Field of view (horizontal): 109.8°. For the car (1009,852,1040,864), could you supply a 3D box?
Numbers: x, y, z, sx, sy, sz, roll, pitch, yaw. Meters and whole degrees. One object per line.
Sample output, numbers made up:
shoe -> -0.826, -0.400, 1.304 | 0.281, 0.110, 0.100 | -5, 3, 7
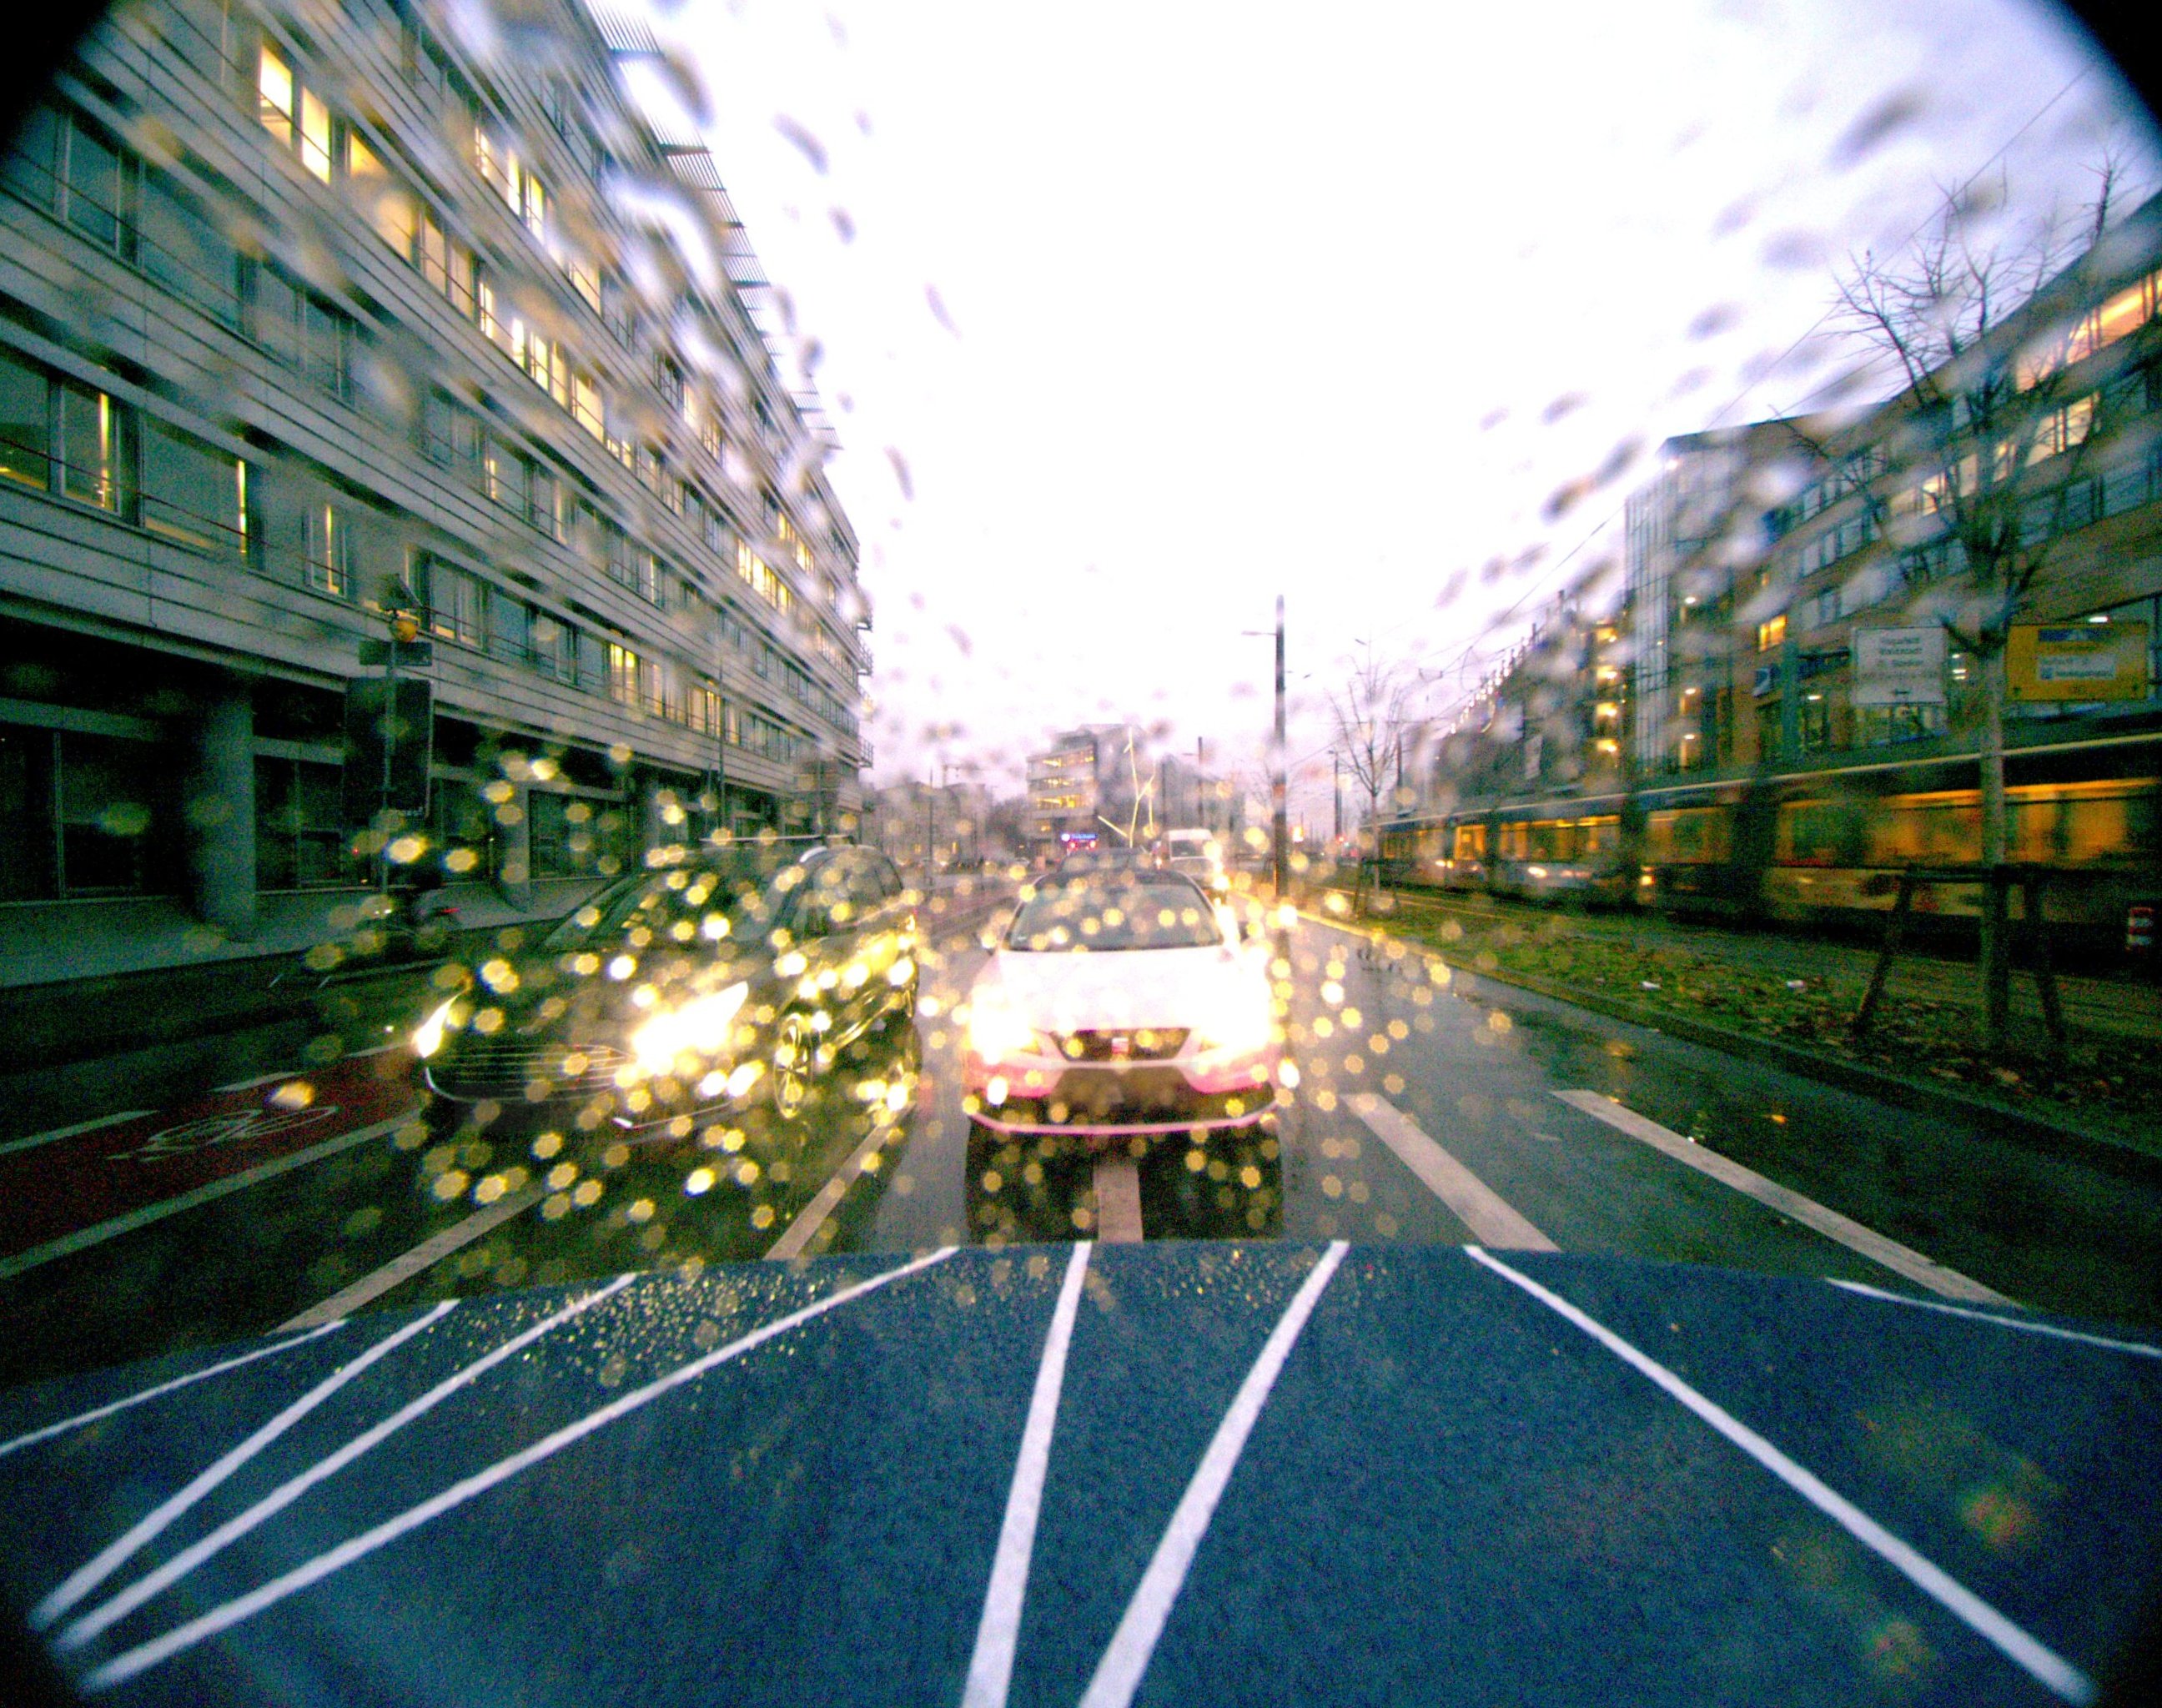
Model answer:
car -> -8.133, 0.532, 109.501 | 3.918, 1.699, 1.782 | -1, 1, 15

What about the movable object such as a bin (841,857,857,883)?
movable object such as a bin -> -13.250, 0.912, 43.394 | 0.666, 1.420, 0.840 | -1, 1, -2

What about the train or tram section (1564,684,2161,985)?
train or tram section -> 14.368, -0.250, 10.798 | 2.872, 3.593, 19.211 | 0, 0, 0

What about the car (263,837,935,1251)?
car -> -2.605, 0.849, 5.721 | 1.887, 1.800, 4.671 | -2, 0, 2

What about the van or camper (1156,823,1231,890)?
van or camper -> 4.527, 0.079, 31.512 | 2.153, 2.517, 5.898 | -1, 0, 0

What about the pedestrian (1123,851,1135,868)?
pedestrian -> 5.587, 0.621, 88.395 | 1.118, 2.002, 1.034 | 0, 1, 15

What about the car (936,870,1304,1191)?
car -> 0.218, 0.912, 5.701 | 1.782, 1.464, 3.943 | -1, 0, 1

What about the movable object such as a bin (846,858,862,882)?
movable object such as a bin -> -13.246, 0.926, 44.291 | 0.666, 1.420, 0.840 | -1, 1, -2

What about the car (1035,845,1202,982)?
car -> 0.525, 0.770, 12.474 | 2.169, 1.744, 4.541 | -3, 1, 0

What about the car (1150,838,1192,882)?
car -> 6.153, 0.384, 52.807 | 2.129, 2.847, 5.813 | -1, 0, -1

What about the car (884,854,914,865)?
car -> -27.839, 0.840, 116.081 | 3.996, 1.663, 2.002 | -1, 1, 17

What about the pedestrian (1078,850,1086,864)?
pedestrian -> 0.162, 0.353, 95.200 | 0.893, 1.783, 0.667 | 0, 1, -8

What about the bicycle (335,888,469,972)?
bicycle -> -11.009, 1.197, 12.411 | 0.681, 1.191, 1.760 | 1, 0, -3

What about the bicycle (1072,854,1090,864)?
bicycle -> -0.042, 0.633, 95.179 | 2.206, 1.182, 0.667 | 0, 1, -8

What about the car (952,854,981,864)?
car -> -16.923, 0.718, 112.234 | 3.759, 1.528, 1.782 | -1, 0, 17

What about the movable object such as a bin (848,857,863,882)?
movable object such as a bin -> -13.410, 0.930, 45.221 | 0.666, 1.468, 0.840 | -1, 1, -2

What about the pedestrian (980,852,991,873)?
pedestrian -> -7.687, 0.687, 61.309 | 0.747, 1.692, 0.969 | 2, 1, -3

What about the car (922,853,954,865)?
car -> -21.400, 0.693, 113.721 | 4.368, 1.750, 2.002 | -1, 1, 17

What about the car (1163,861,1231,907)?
car -> 3.644, 0.916, 24.403 | 1.759, 1.337, 4.058 | -1, -1, 3

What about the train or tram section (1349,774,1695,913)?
train or tram section -> 14.955, -0.322, 29.726 | 2.871, 3.593, 20.074 | 0, 0, 3

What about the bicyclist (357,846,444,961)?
bicyclist -> -10.997, 0.775, 12.309 | 0.671, 1.788, 0.806 | 0, 1, -3

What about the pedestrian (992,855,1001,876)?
pedestrian -> -6.749, 0.918, 60.634 | 0.651, 1.692, 0.884 | 1, 1, -3

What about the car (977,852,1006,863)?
car -> -13.019, 0.562, 110.693 | 3.759, 1.528, 1.782 | -1, 0, 17

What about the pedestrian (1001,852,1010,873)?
pedestrian -> -6.020, 0.639, 60.829 | 0.616, 1.659, 0.884 | 1, 1, -3
